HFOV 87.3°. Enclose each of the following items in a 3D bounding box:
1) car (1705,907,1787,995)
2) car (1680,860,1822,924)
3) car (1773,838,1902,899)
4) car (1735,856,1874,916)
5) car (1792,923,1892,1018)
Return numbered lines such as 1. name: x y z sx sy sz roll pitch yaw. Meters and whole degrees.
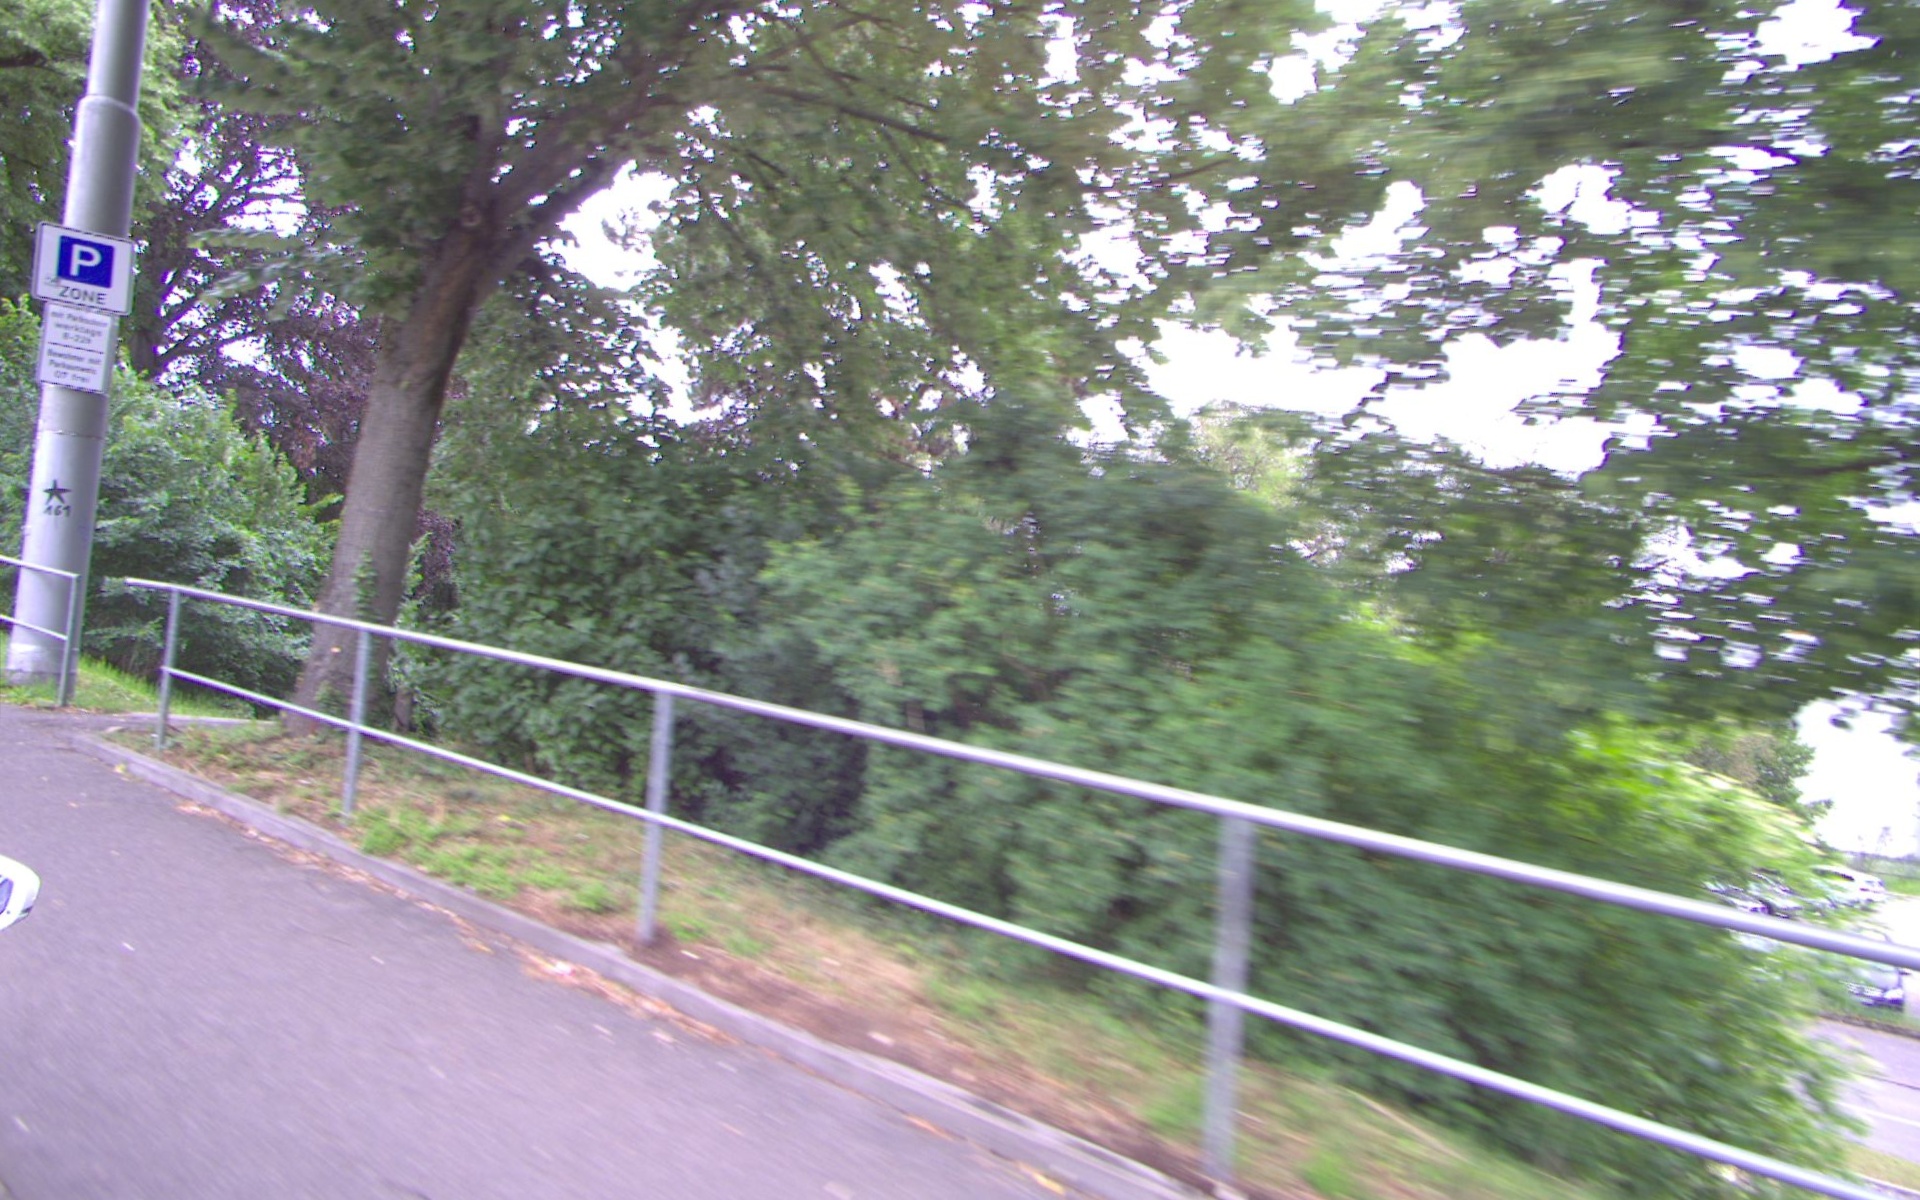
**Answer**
1. car: 24.638 10.892 31.498 1.800 1.522 4.327 5 -3 40
2. car: 33.832 12.446 43.157 1.978 1.485 4.312 8 -2 -30
3. car: 40.916 12.503 46.989 1.974 1.832 3.980 7 -2 -23
4. car: 37.992 12.820 45.374 1.978 1.485 4.312 8 -2 -30
5. car: 26.217 10.959 30.033 1.972 1.485 4.327 5 -3 40
